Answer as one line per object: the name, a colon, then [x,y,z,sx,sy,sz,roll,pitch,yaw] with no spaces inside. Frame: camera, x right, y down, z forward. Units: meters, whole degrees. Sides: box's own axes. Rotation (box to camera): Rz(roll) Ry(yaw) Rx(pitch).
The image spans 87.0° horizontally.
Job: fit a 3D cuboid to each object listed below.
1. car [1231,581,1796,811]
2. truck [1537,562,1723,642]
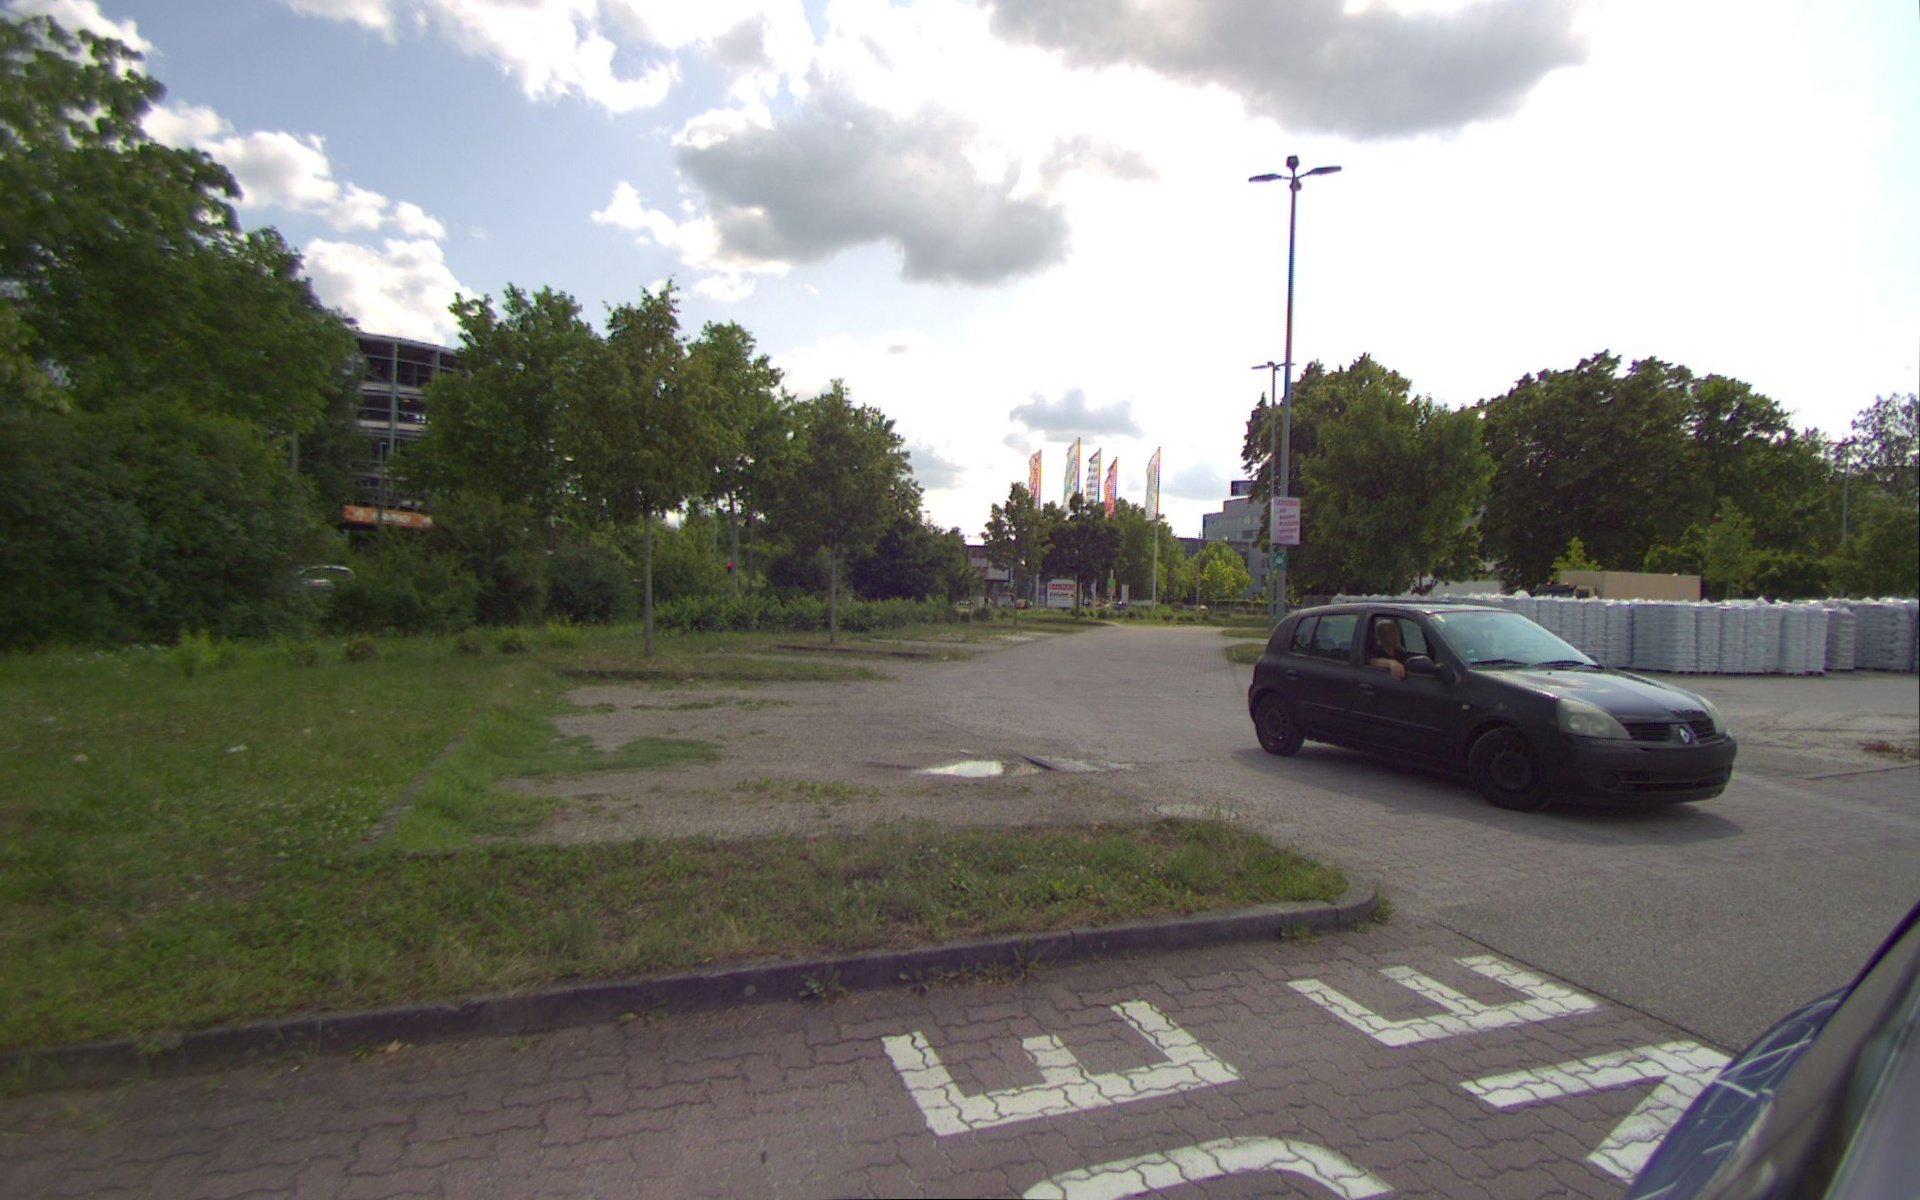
car: [3.985,0.552,8.049,1.578,1.337,3.795,2,1,-21]
truck: [33.634,0.098,50.809,8.845,3.643,2.737,2,1,-18]
